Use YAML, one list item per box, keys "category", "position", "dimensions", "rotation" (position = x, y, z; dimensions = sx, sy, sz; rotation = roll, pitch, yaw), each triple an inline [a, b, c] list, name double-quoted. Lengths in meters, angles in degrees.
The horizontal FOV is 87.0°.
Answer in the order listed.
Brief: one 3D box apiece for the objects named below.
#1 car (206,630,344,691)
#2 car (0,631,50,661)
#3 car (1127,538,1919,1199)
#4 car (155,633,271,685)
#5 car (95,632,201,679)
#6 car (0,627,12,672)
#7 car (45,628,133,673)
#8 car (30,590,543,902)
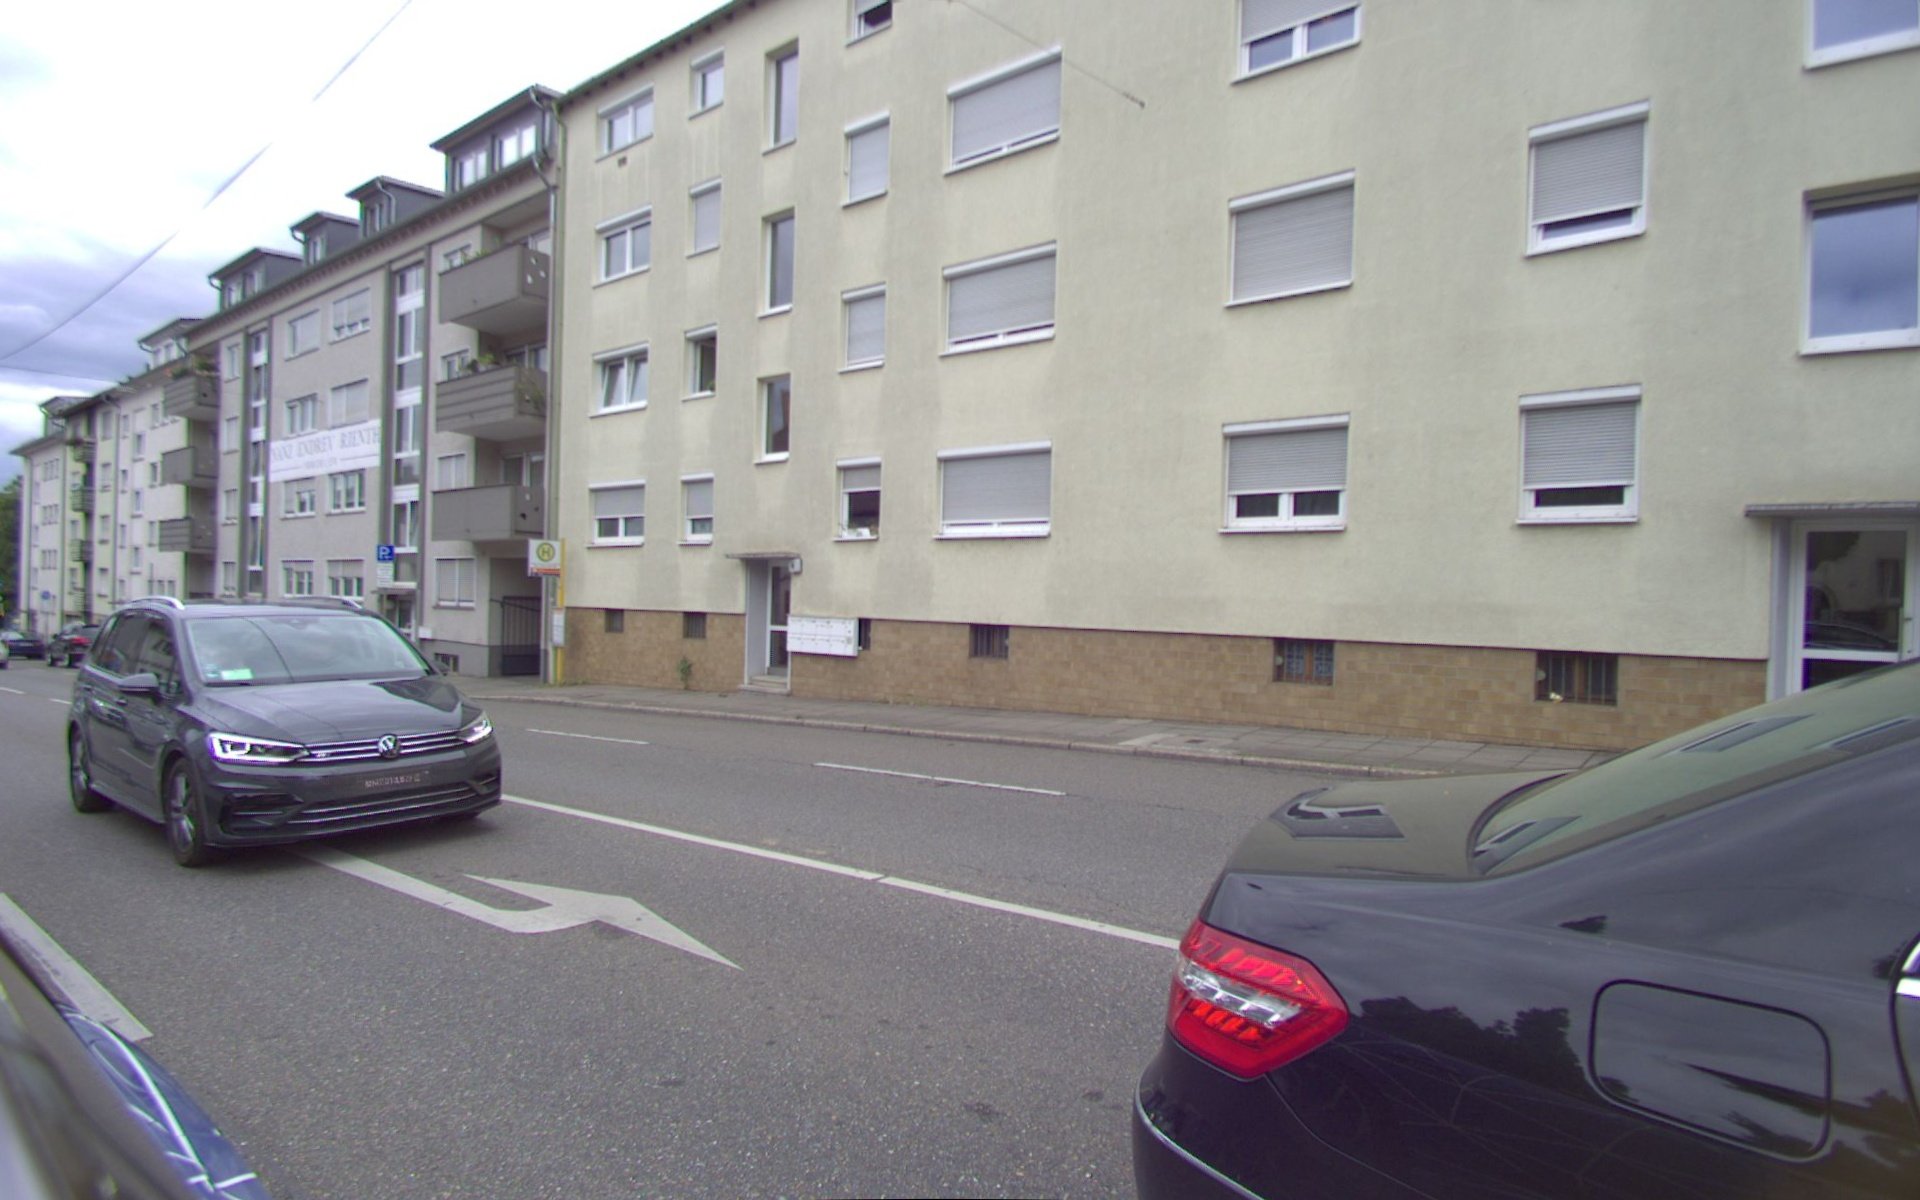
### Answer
- category: "car"
  position: [-17.580, 1.518, 25.923]
  dimensions: [3.680, 1.422, 1.755]
  rotation: [-1, -3, 36]
- category: "car"
  position: [-46.166, 2.235, 49.418]
  dimensions: [3.752, 1.414, 1.755]
  rotation: [-1, -3, 36]
- category: "car"
  position: [2.717, 0.651, 0.706]
  dimensions: [4.840, 1.440, 1.973]
  rotation: [-1, -2, 41]
- category: "car"
  position: [-21.443, 1.654, 29.010]
  dimensions: [3.533, 1.386, 1.649]
  rotation: [-1, -3, 36]
- category: "car"
  position: [-26.231, 1.767, 32.674]
  dimensions: [3.533, 1.414, 1.755]
  rotation: [-1, -3, 36]
- category: "car"
  position: [-34.941, 1.728, 35.594]
  dimensions: [4.078, 1.533, 1.753]
  rotation: [-1, -2, 39]
- category: "car"
  position: [-33.196, 1.883, 38.559]
  dimensions: [3.533, 1.613, 1.755]
  rotation: [-1, -3, 36]
- category: "car"
  position: [-5.095, 0.777, 7.404]
  dimensions: [4.474, 1.623, 1.840]
  rotation: [-1, 0, 38]
